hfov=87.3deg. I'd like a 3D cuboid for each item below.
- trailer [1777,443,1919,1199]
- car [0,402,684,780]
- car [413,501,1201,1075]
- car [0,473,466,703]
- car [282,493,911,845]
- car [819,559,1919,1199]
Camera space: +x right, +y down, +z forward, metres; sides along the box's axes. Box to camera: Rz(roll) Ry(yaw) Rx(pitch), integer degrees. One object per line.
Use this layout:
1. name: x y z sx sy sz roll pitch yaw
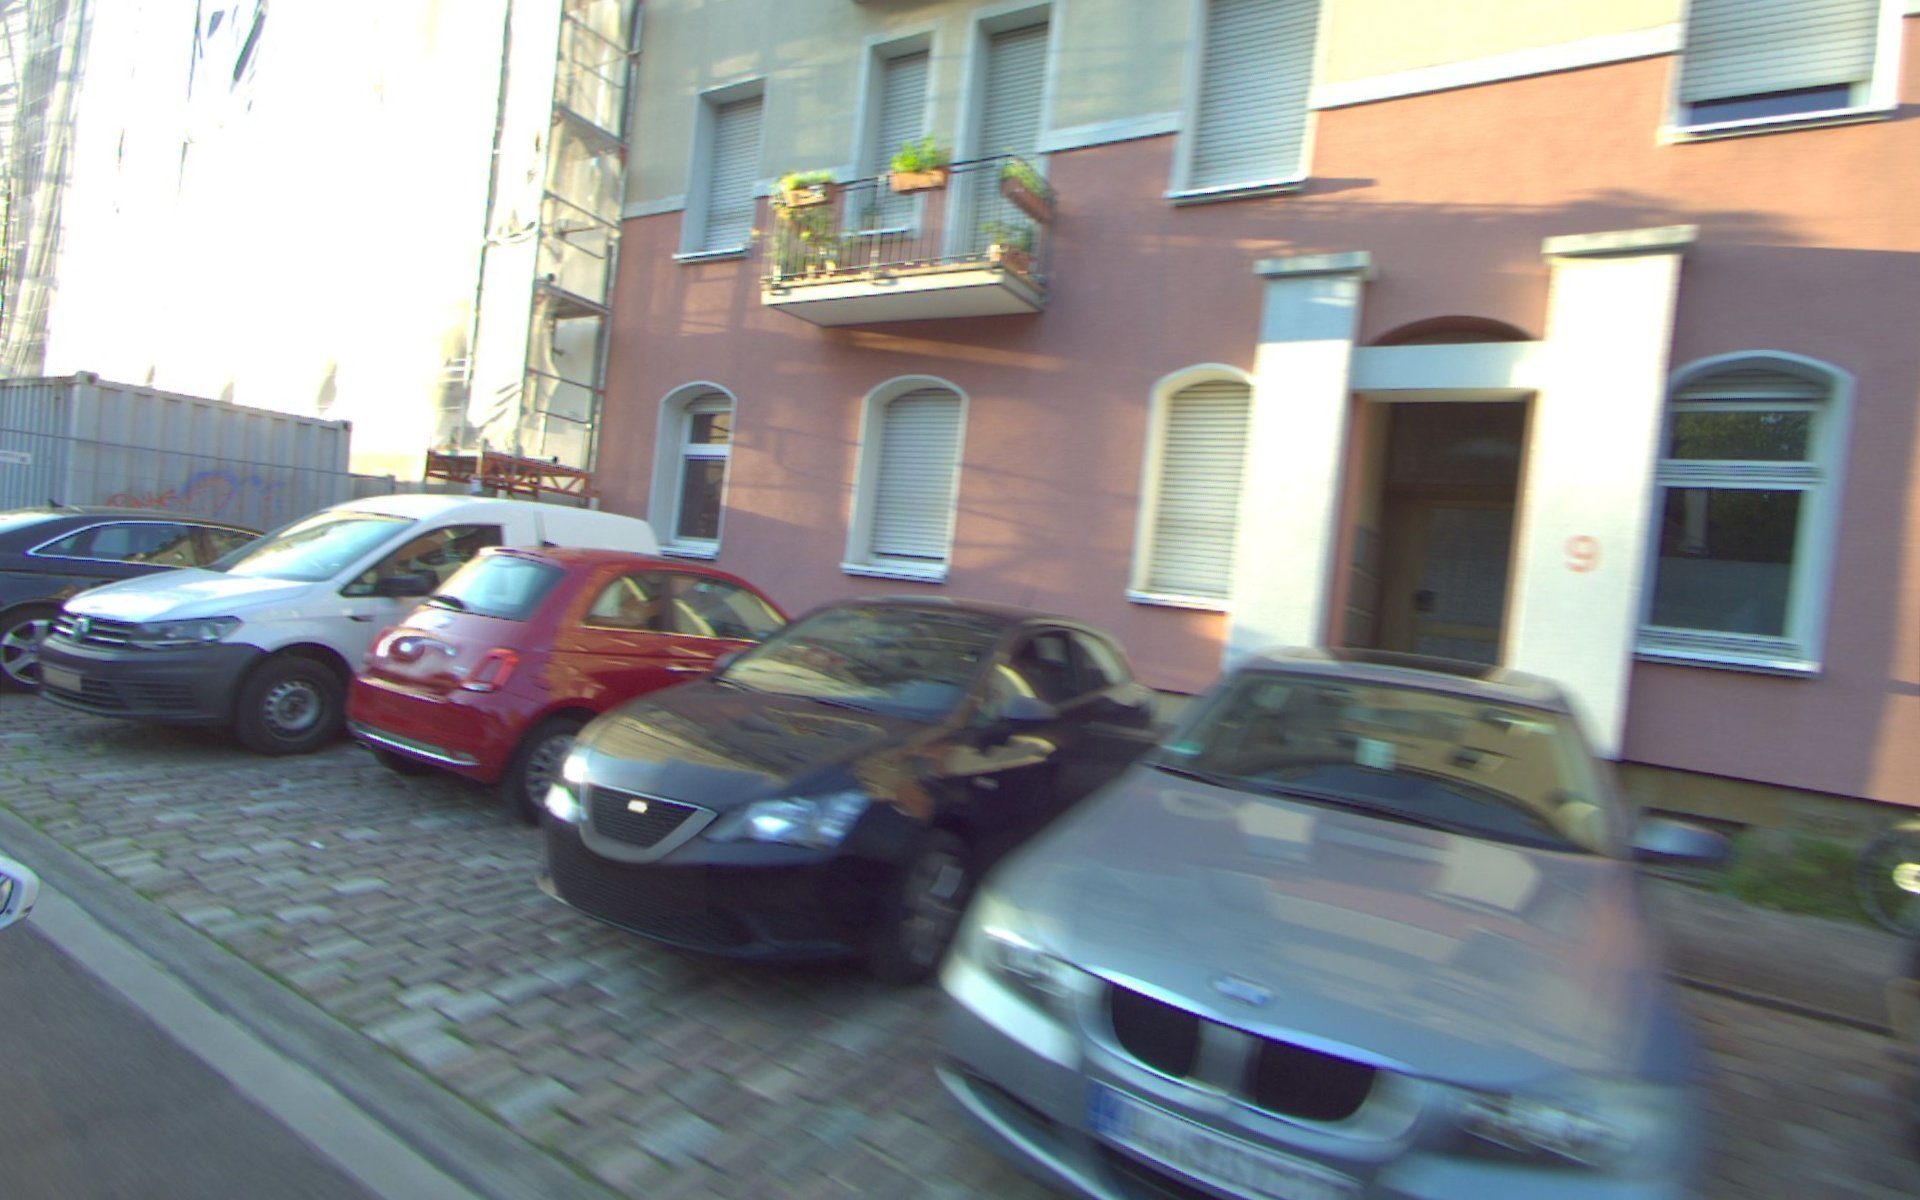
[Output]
1. trailer: 3.615 0.692 2.269 1.908 2.368 3.570 6 2 29
2. car: -4.340 -0.076 7.770 1.789 2.006 4.272 7 2 24
3. car: -0.264 0.642 5.084 1.758 1.591 3.971 6 -1 29
4. car: -6.877 -0.059 8.758 1.841 1.635 4.157 6 -1 33
5. car: -2.120 0.421 6.876 1.715 1.630 3.698 6 -1 30
6. car: 1.499 0.956 3.712 1.871 1.657 3.994 6 -1 29
